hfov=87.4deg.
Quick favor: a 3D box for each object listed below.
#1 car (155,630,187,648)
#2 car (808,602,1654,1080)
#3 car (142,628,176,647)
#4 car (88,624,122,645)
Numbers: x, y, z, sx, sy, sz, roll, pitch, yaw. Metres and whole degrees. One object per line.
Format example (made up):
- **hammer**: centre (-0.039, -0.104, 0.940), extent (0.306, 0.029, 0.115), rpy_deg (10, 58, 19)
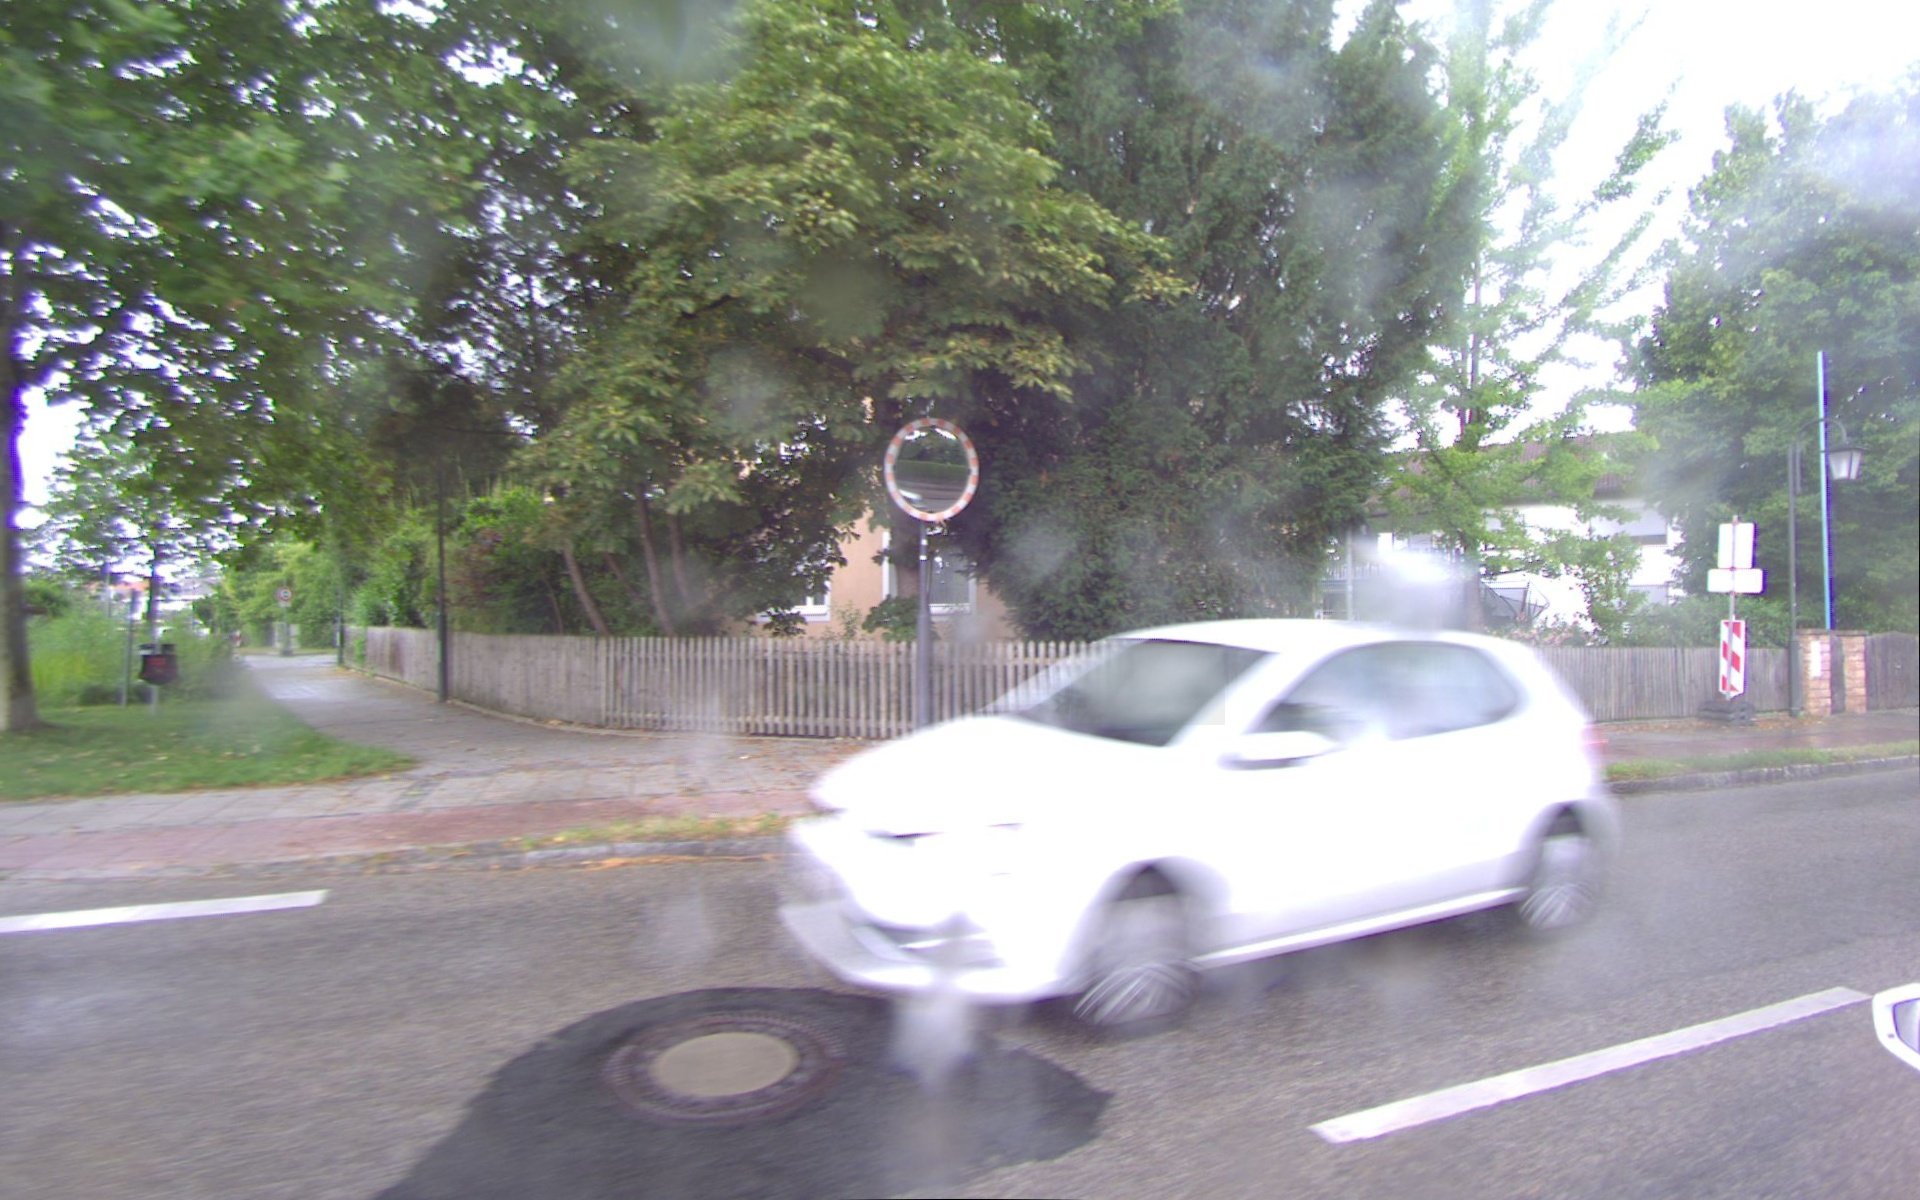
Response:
- **car**: centre (-71.964, 3.543, 91.628), extent (1.986, 1.461, 3.949), rpy_deg (2, -1, -43)
- **car**: centre (1.302, 0.807, 4.640), extent (3.623, 1.463, 1.612), rpy_deg (2, -1, -27)
- **car**: centre (-68.147, 3.188, 85.414), extent (1.986, 1.461, 3.949), rpy_deg (2, -1, -43)
- **car**: centre (-69.758, 2.806, 81.939), extent (1.986, 1.461, 3.949), rpy_deg (2, -1, -43)
